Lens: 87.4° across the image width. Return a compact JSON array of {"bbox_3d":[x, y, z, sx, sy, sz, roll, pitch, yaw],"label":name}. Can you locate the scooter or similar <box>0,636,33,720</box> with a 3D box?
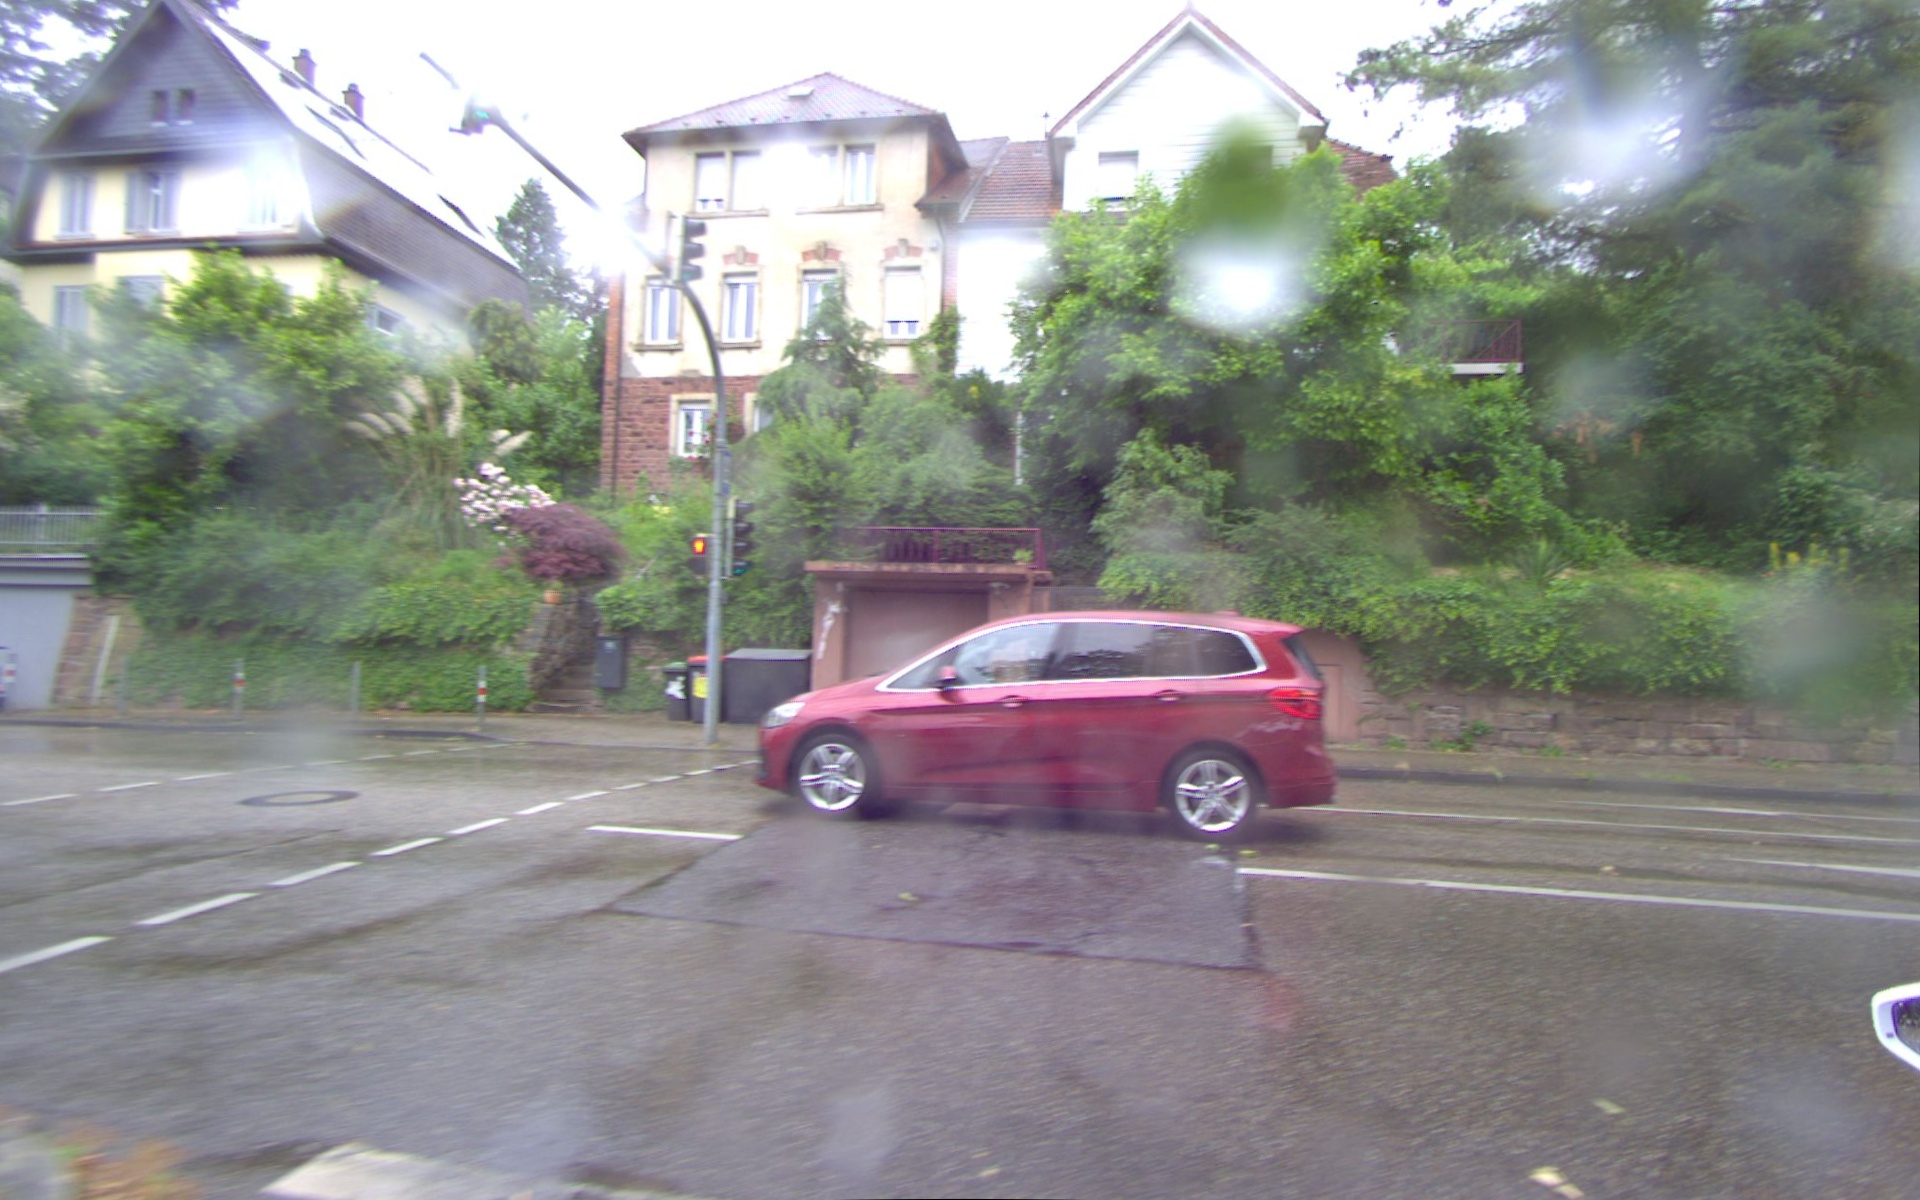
[{"bbox_3d":[-15.792,1.257,16.226,1.082,1.352,0.458,2,-4,-33],"label":"scooter or similar"}]

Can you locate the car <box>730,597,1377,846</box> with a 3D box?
[{"bbox_3d":[0.684,0.861,7.876,4.490,1.621,1.776,0,-3,11],"label":"car"}]
